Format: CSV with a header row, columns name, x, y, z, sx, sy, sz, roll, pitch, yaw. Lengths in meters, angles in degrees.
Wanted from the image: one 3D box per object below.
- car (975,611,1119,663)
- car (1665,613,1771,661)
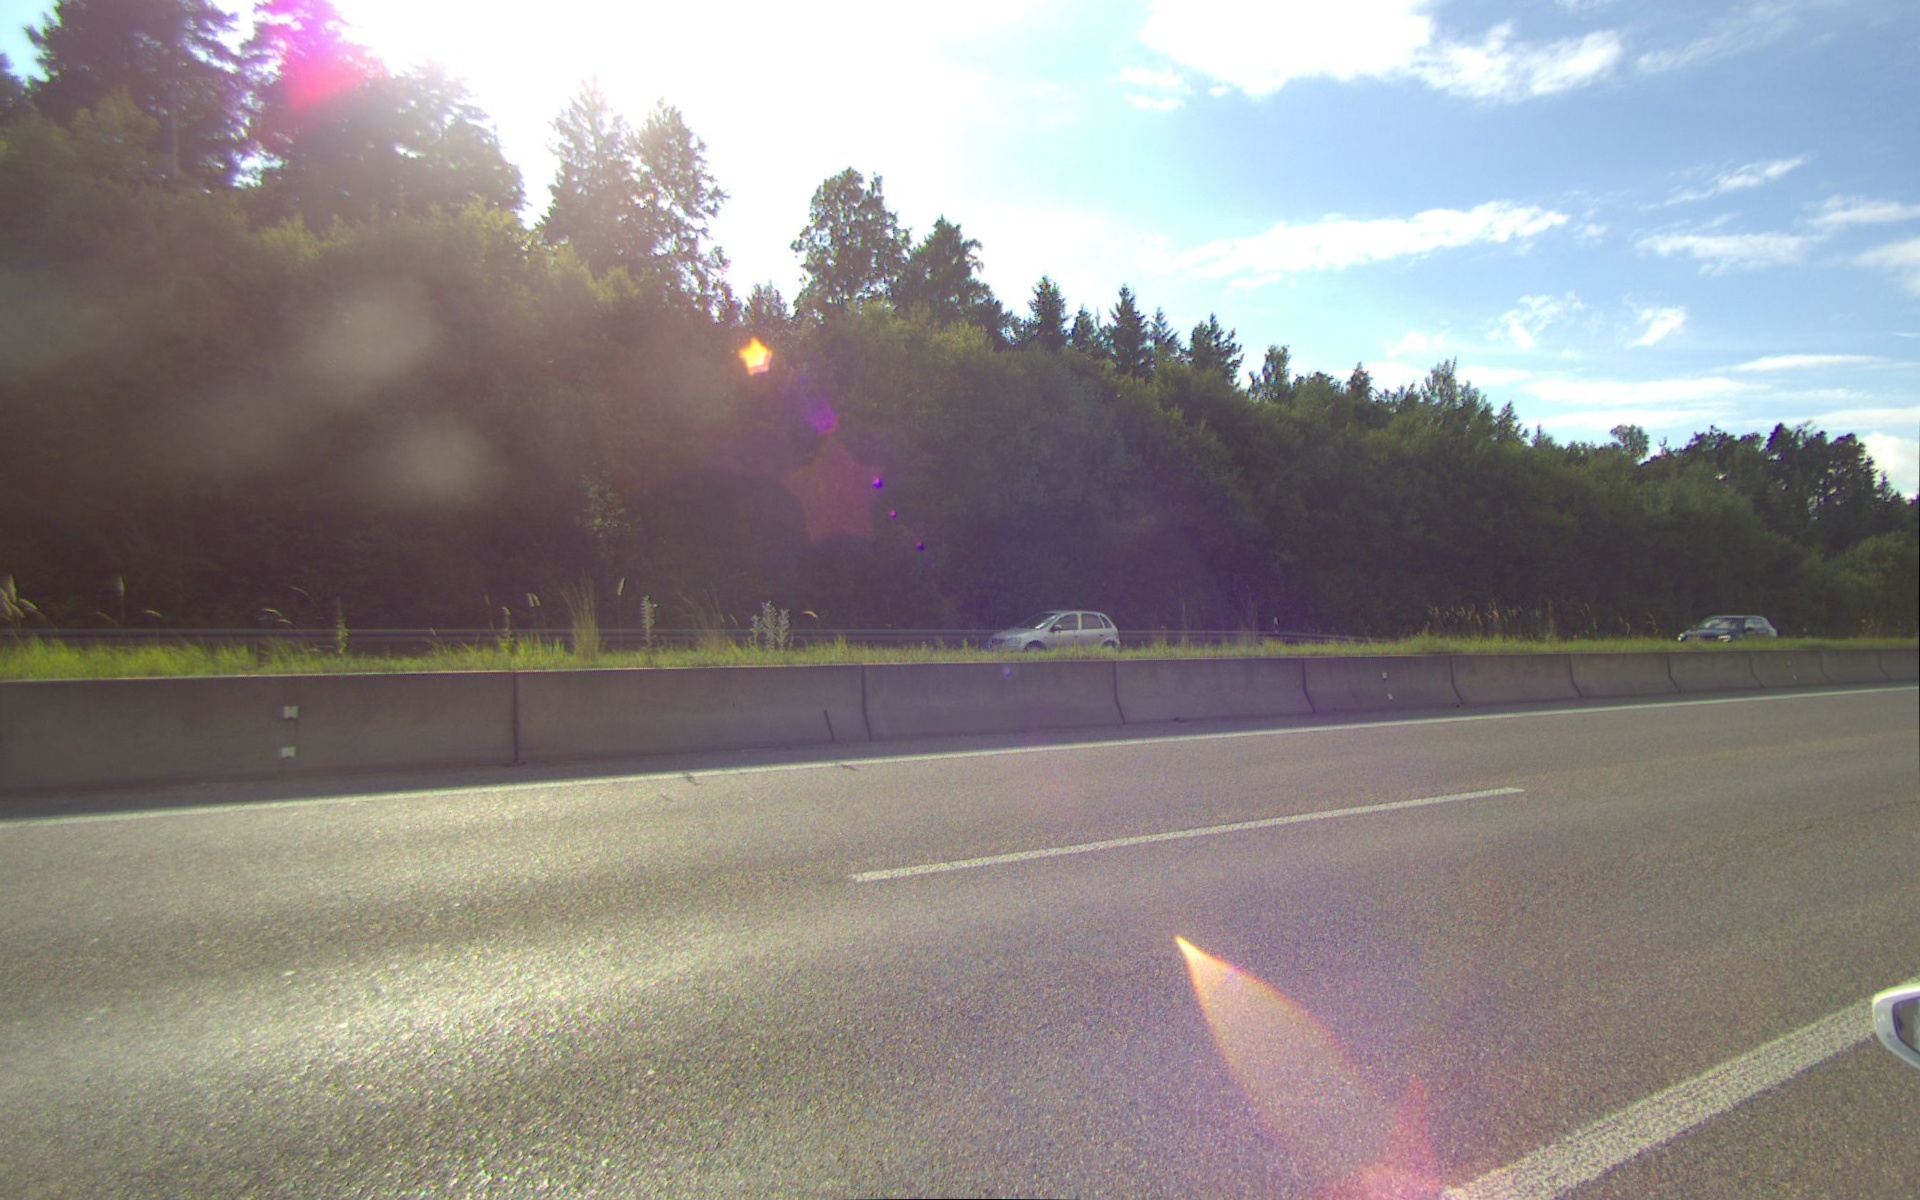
name,x,y,z,sx,sy,sz,roll,pitch,yaw
car,2.375,0.985,27.257,3.502,1.307,1.808,1,0,-30
car,29.072,1.392,38.511,3.953,1.740,1.897,1,0,-30
